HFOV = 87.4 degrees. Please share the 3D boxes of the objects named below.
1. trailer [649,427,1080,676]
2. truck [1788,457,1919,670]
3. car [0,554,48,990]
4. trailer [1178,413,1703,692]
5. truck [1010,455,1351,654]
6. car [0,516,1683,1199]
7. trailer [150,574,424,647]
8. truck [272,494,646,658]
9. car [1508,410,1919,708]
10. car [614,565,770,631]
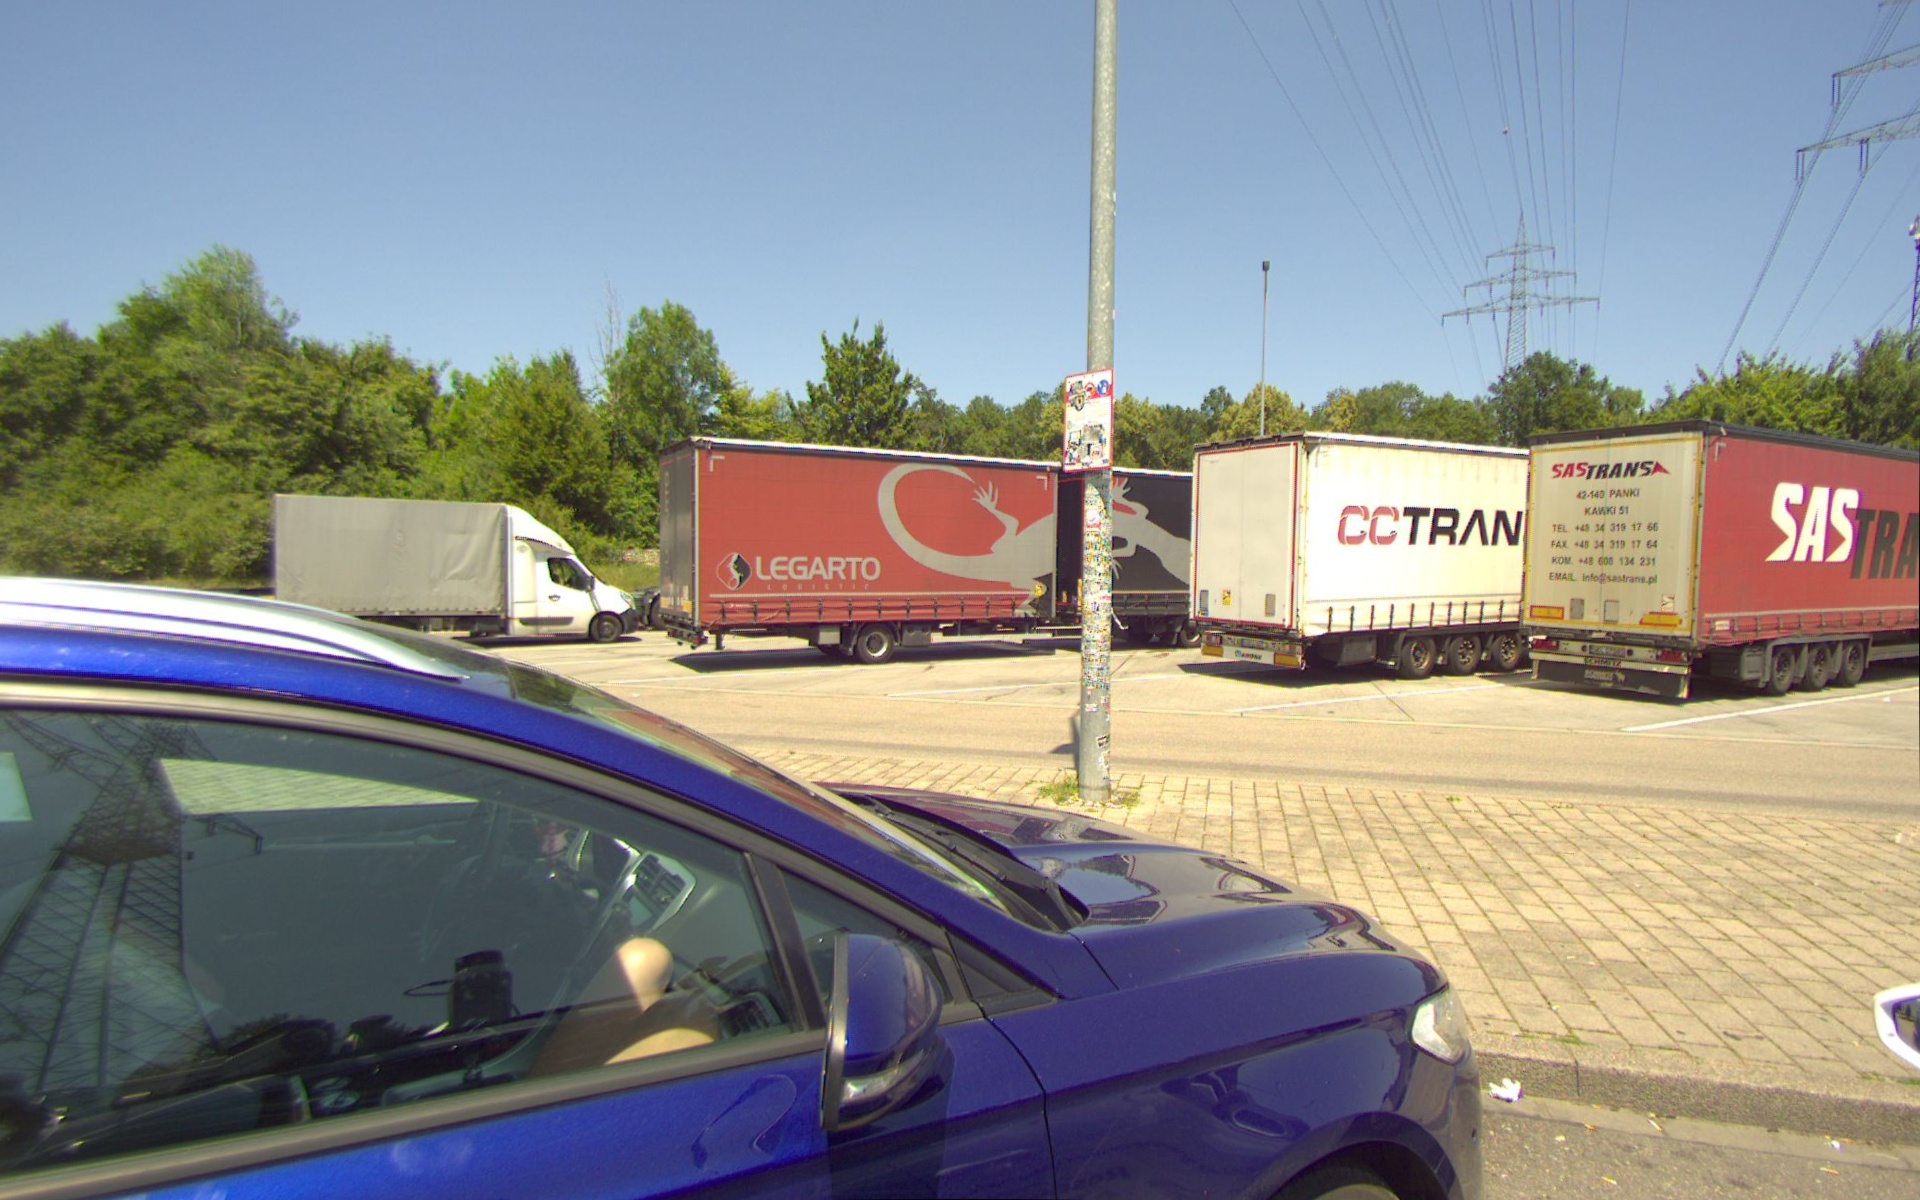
[{"bbox_3d":[-1.738,-0.931,20.514,8.389,4.248,2.800,-1,2,-30],"label":"trailer"},{"bbox_3d":[21.147,-0.773,21.877,6.163,4.169,2.683,-1,3,-30],"label":"truck"},{"bbox_3d":[-4.604,0.556,2.125,3.700,1.432,1.595,0,0,-32],"label":"car"},{"bbox_3d":[10.117,-0.882,20.078,12.786,4.325,2.800,-1,2,-31],"label":"trailer"},{"bbox_3d":[5.607,-1.080,24.838,8.683,4.248,2.800,-1,2,-30],"label":"truck"},{"bbox_3d":[-0.978,0.671,1.474,4.380,1.464,1.771,0,0,-32],"label":"car"},{"bbox_3d":[-15.945,0.237,24.187,5.332,1.617,1.585,0,0,-30],"label":"trailer"},{"bbox_3d":[-11.110,-0.589,22.882,7.219,3.277,2.308,-2,3,-29],"label":"truck"},{"bbox_3d":[15.222,-0.693,18.465,12.777,4.169,2.683,-1,3,-30],"label":"car"},{"bbox_3d":[-7.600,-0.051,28.524,3.953,1.773,1.902,0,0,-30],"label":"car"}]
